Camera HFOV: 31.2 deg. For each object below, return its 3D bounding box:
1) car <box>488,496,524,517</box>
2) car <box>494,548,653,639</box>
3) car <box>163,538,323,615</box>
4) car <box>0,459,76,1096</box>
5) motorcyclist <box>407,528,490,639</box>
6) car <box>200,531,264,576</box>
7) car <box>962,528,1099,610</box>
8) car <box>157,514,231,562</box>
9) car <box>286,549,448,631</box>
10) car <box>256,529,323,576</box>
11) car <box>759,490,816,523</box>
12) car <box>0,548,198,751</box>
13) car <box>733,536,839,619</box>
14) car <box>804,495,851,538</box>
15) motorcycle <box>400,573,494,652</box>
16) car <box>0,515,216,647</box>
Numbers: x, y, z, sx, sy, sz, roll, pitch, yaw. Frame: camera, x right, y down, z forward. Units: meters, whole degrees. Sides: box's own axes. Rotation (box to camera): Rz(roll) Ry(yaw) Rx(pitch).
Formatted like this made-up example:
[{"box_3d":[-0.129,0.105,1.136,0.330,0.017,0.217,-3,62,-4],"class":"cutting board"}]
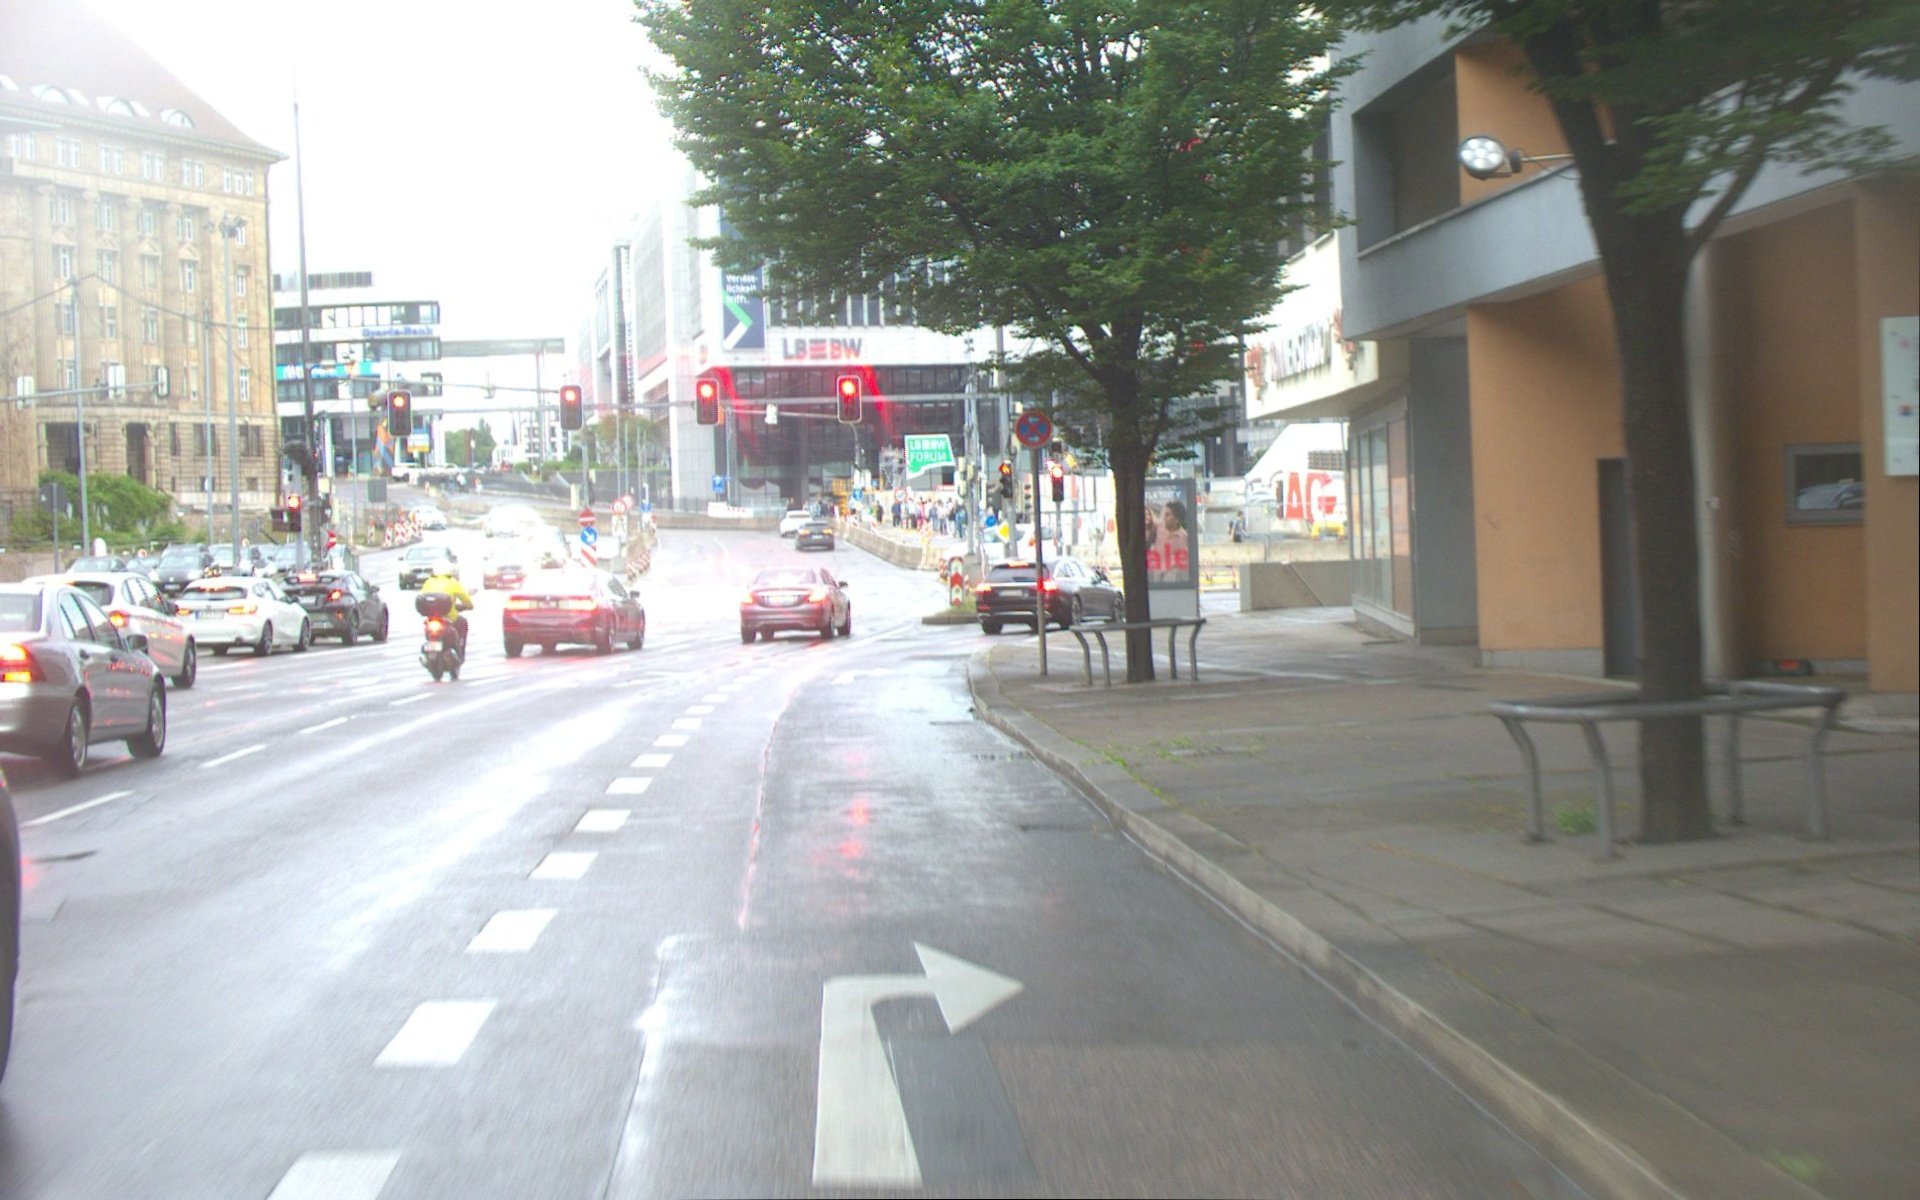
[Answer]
[{"box_3d":[-28.211,-5.822,213.622,1.767,1.256,4.195,-1,1,-2],"class":"car"},{"box_3d":[-6.906,-0.149,61.935,1.887,1.509,5.002,-1,1,5],"class":"car"},{"box_3d":[-13.347,-0.457,64.245,1.783,1.368,3.993,-1,1,6],"class":"car"},{"box_3d":[-3.335,0.493,7.789,1.808,1.655,4.171,-1,1,-4],"class":"car"},{"box_3d":[-6.959,-0.232,46.812,0.941,1.470,1.100,-1,1,-1],"class":"motorcyclist"},{"box_3d":[-26.503,-1.704,125.257,1.697,1.568,4.001,-1,1,-4],"class":"car"},{"box_3d":[1.425,-0.624,67.564,1.892,1.538,3.991,-1,1,13],"class":"car"},{"box_3d":[-26.046,-2.135,117.057,1.697,1.514,3.875,-3,2,-2],"class":"car"},{"box_3d":[-12.158,-0.229,70.723,1.784,1.594,4.070,-1,1,14],"class":"car"},{"box_3d":[-23.470,-1.670,120.474,1.801,1.568,4.075,-1,1,-4],"class":"car"},{"box_3d":[-9.736,-5.262,193.825,1.993,1.809,4.001,-1,1,-22],"class":"car"},{"box_3d":[-7.240,0.324,26.162,1.733,1.399,4.383,-1,1,2],"class":"car"},{"box_3d":[-3.401,-0.476,67.826,1.783,1.397,4.487,-1,3,1],"class":"car"},{"box_3d":[-6.350,-3.979,164.269,1.993,2.007,4.001,-1,1,-5],"class":"car"},{"box_3d":[-6.969,0.152,46.829,0.942,0.986,2.294,-1,2,-1],"class":"motorcycle"},{"box_3d":[-11.051,-0.273,44.472,1.733,1.610,4.000,-1,1,4],"class":"car"}]
